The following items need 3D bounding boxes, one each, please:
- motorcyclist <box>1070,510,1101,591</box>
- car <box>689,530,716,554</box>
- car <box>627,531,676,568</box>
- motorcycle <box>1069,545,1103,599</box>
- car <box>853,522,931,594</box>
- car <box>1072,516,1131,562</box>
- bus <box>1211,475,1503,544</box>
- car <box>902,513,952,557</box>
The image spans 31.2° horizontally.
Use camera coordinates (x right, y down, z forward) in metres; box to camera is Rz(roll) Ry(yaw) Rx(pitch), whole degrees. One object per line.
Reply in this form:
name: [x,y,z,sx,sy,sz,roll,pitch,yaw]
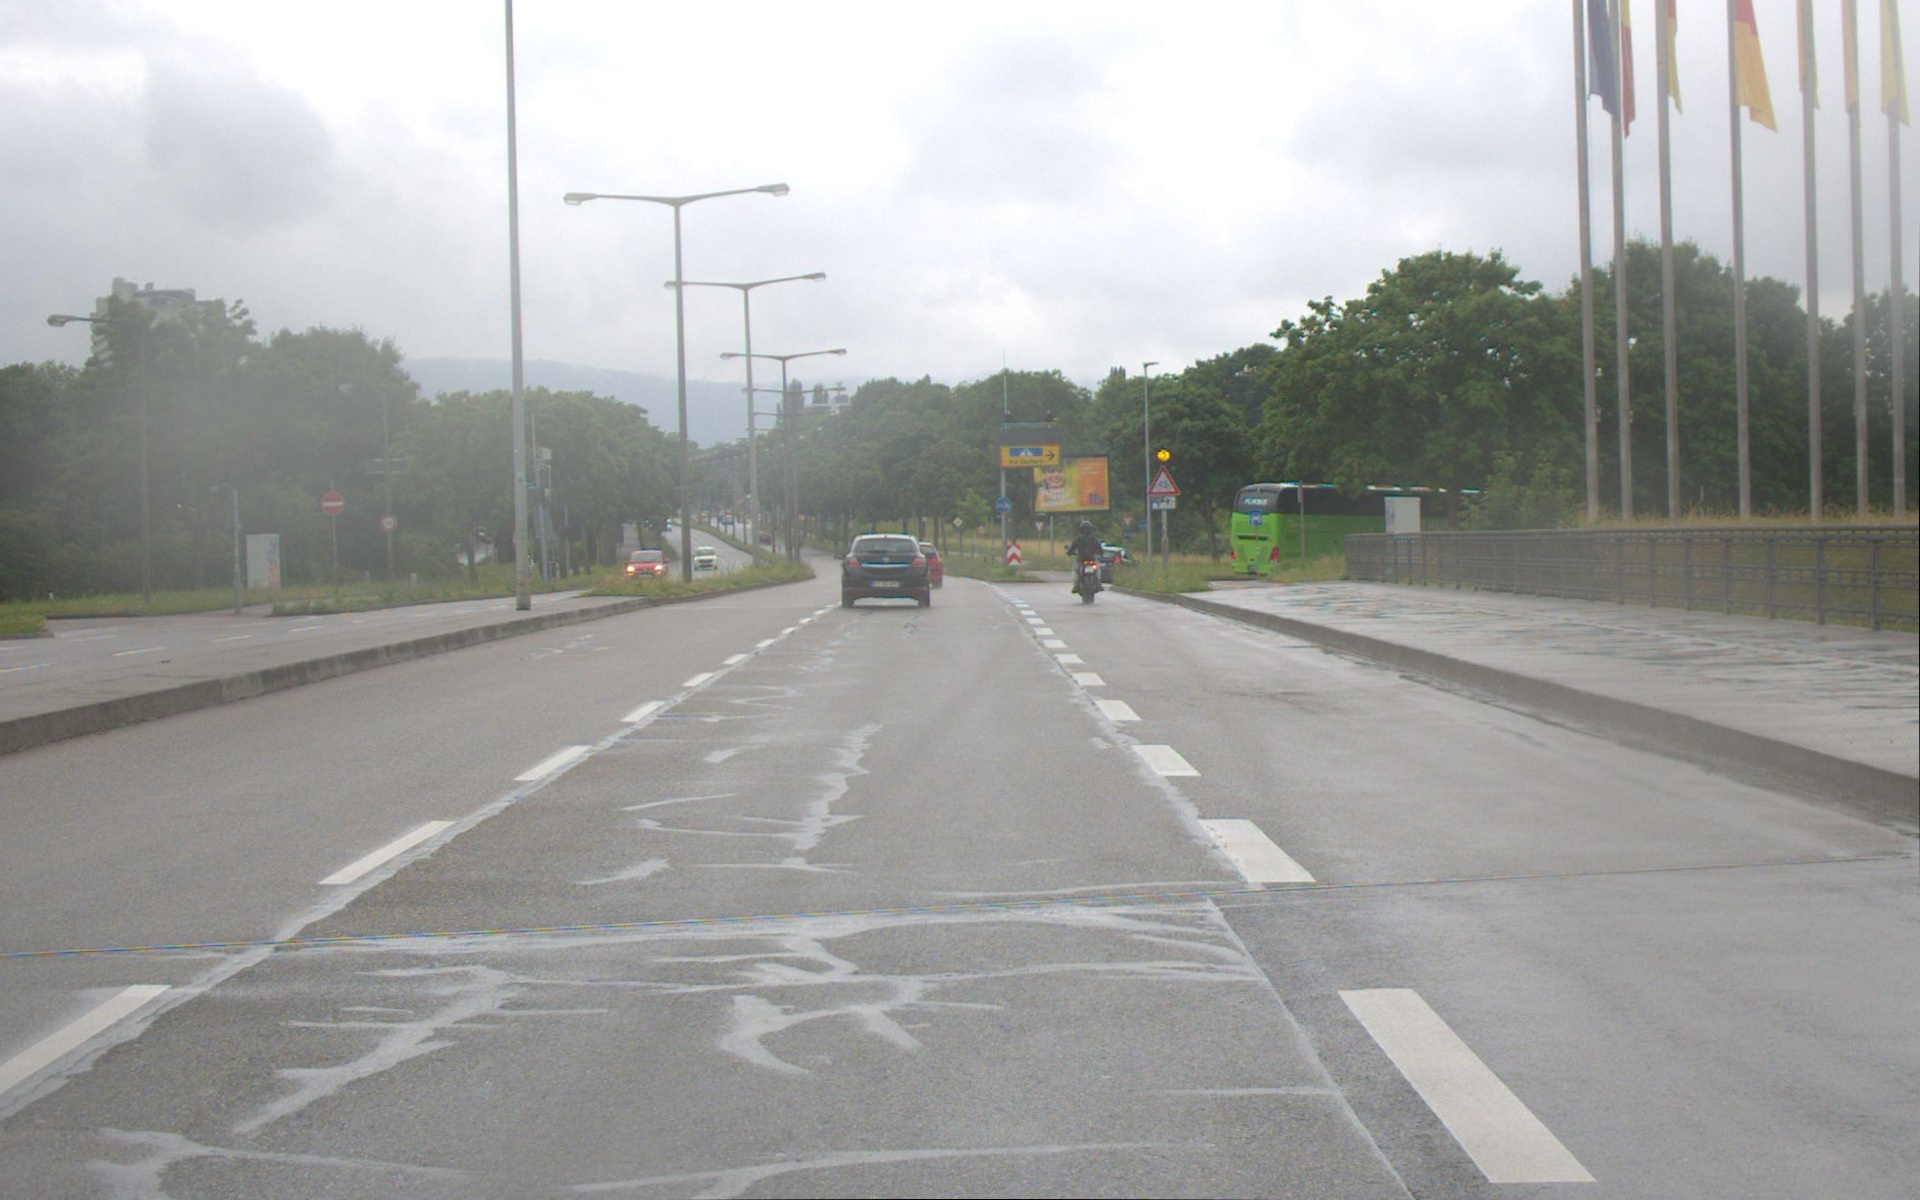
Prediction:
motorcyclist: [2.627,-1.046,71.904,0.601,1.684,0.860,0,1,-2]
car: [-19.096,-4.306,254.781,1.707,1.624,4.492,-3,1,-2]
car: [-12.758,-2.093,142.393,1.660,1.443,3.557,-3,1,-1]
motorcycle: [2.639,-0.585,71.934,0.601,1.089,1.732,0,2,-2]
car: [-1.335,-0.828,66.687,1.463,1.324,3.758,0,2,-2]
car: [5.057,-2.187,123.266,1.854,1.612,4.000,0,1,-2]
bus: [16.389,-3.660,140.688,14.550,2.670,2.762,-1,1,-41]
car: [-1.032,-2.028,106.408,1.463,1.324,3.758,0,2,-2]
